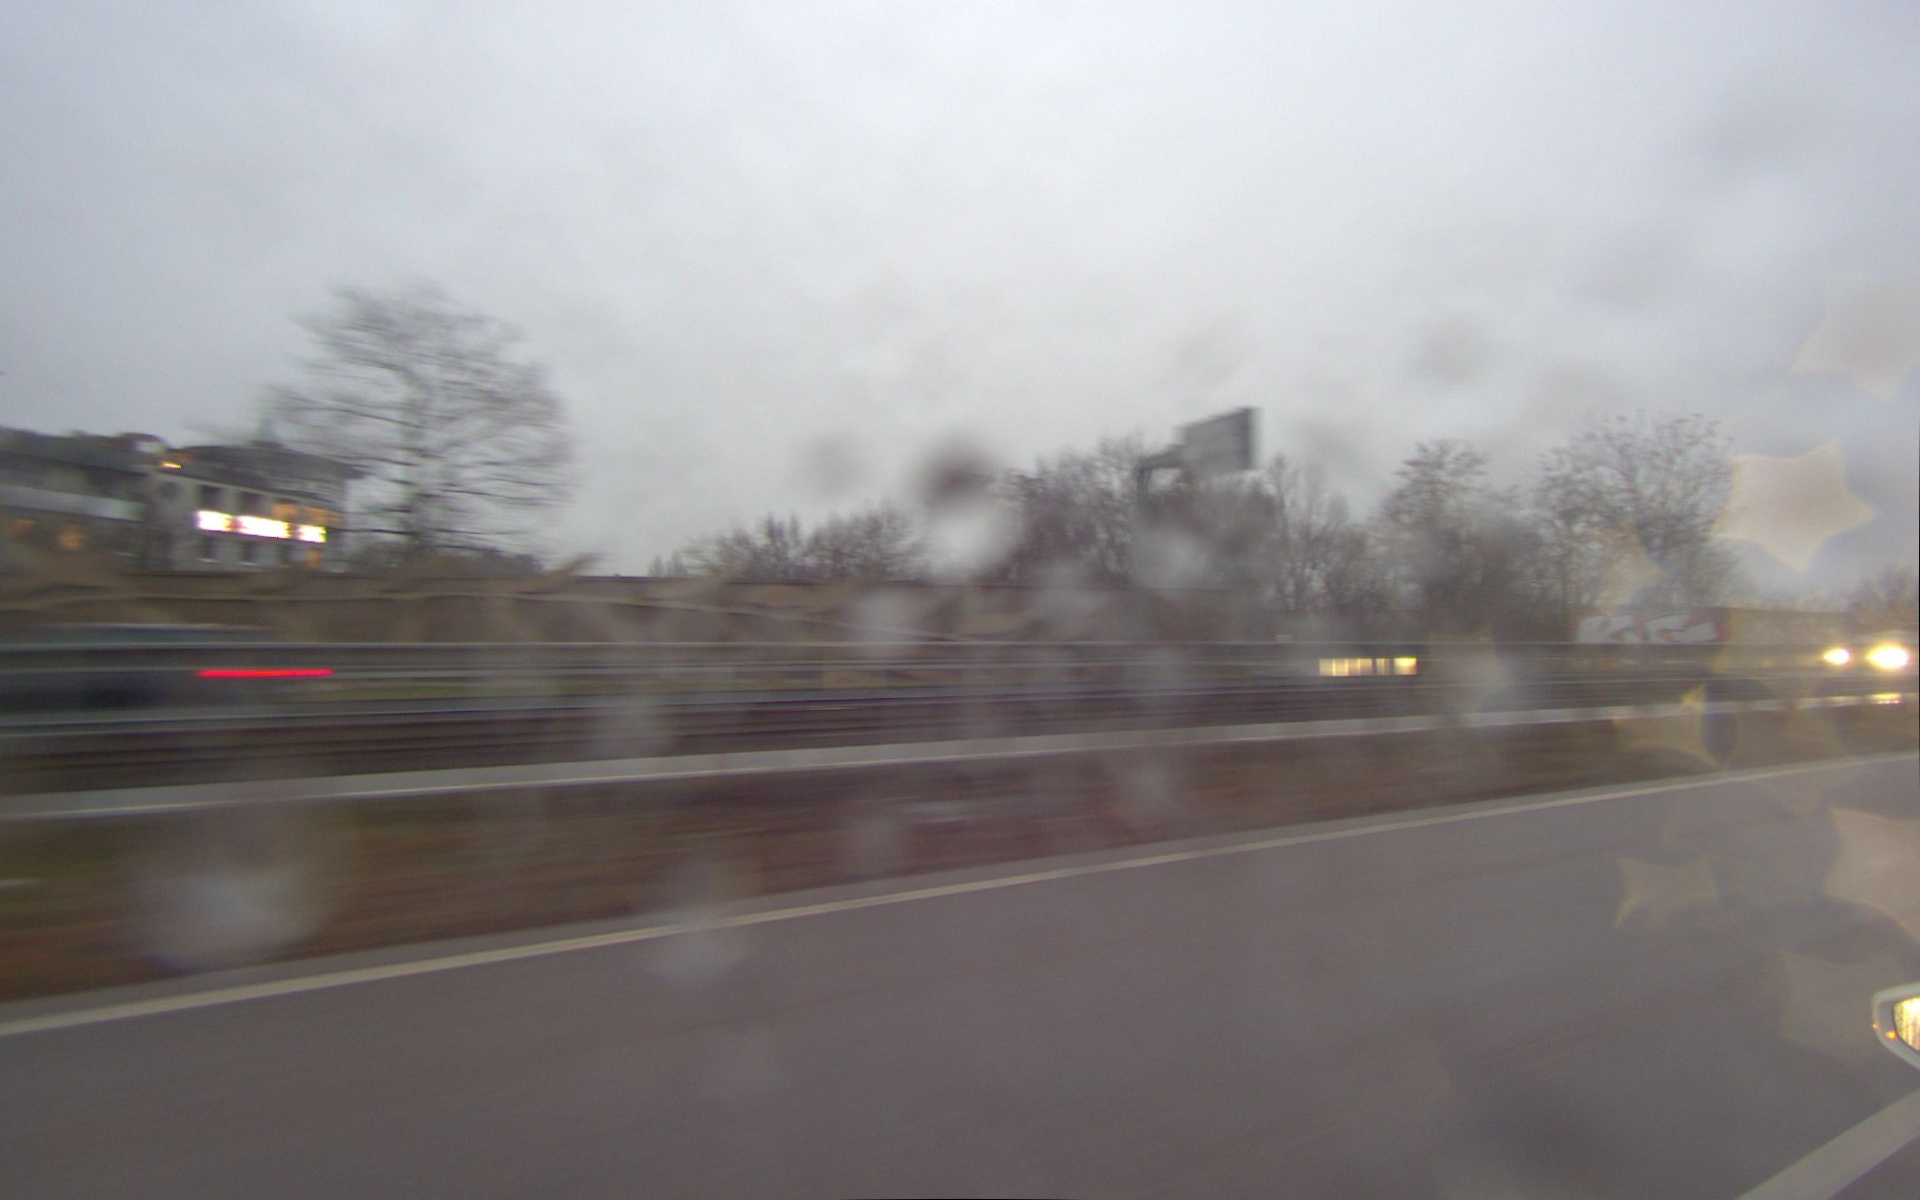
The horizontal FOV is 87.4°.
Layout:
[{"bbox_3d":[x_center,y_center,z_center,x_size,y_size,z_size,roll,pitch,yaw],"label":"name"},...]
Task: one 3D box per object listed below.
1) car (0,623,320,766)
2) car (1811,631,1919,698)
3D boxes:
[{"bbox_3d":[-9.515,1.004,11.471,3.596,1.428,1.747,1,-1,-30],"label":"car"},{"bbox_3d":[29.505,2.020,32.271,4.236,1.944,1.984,1,0,-30],"label":"car"}]
